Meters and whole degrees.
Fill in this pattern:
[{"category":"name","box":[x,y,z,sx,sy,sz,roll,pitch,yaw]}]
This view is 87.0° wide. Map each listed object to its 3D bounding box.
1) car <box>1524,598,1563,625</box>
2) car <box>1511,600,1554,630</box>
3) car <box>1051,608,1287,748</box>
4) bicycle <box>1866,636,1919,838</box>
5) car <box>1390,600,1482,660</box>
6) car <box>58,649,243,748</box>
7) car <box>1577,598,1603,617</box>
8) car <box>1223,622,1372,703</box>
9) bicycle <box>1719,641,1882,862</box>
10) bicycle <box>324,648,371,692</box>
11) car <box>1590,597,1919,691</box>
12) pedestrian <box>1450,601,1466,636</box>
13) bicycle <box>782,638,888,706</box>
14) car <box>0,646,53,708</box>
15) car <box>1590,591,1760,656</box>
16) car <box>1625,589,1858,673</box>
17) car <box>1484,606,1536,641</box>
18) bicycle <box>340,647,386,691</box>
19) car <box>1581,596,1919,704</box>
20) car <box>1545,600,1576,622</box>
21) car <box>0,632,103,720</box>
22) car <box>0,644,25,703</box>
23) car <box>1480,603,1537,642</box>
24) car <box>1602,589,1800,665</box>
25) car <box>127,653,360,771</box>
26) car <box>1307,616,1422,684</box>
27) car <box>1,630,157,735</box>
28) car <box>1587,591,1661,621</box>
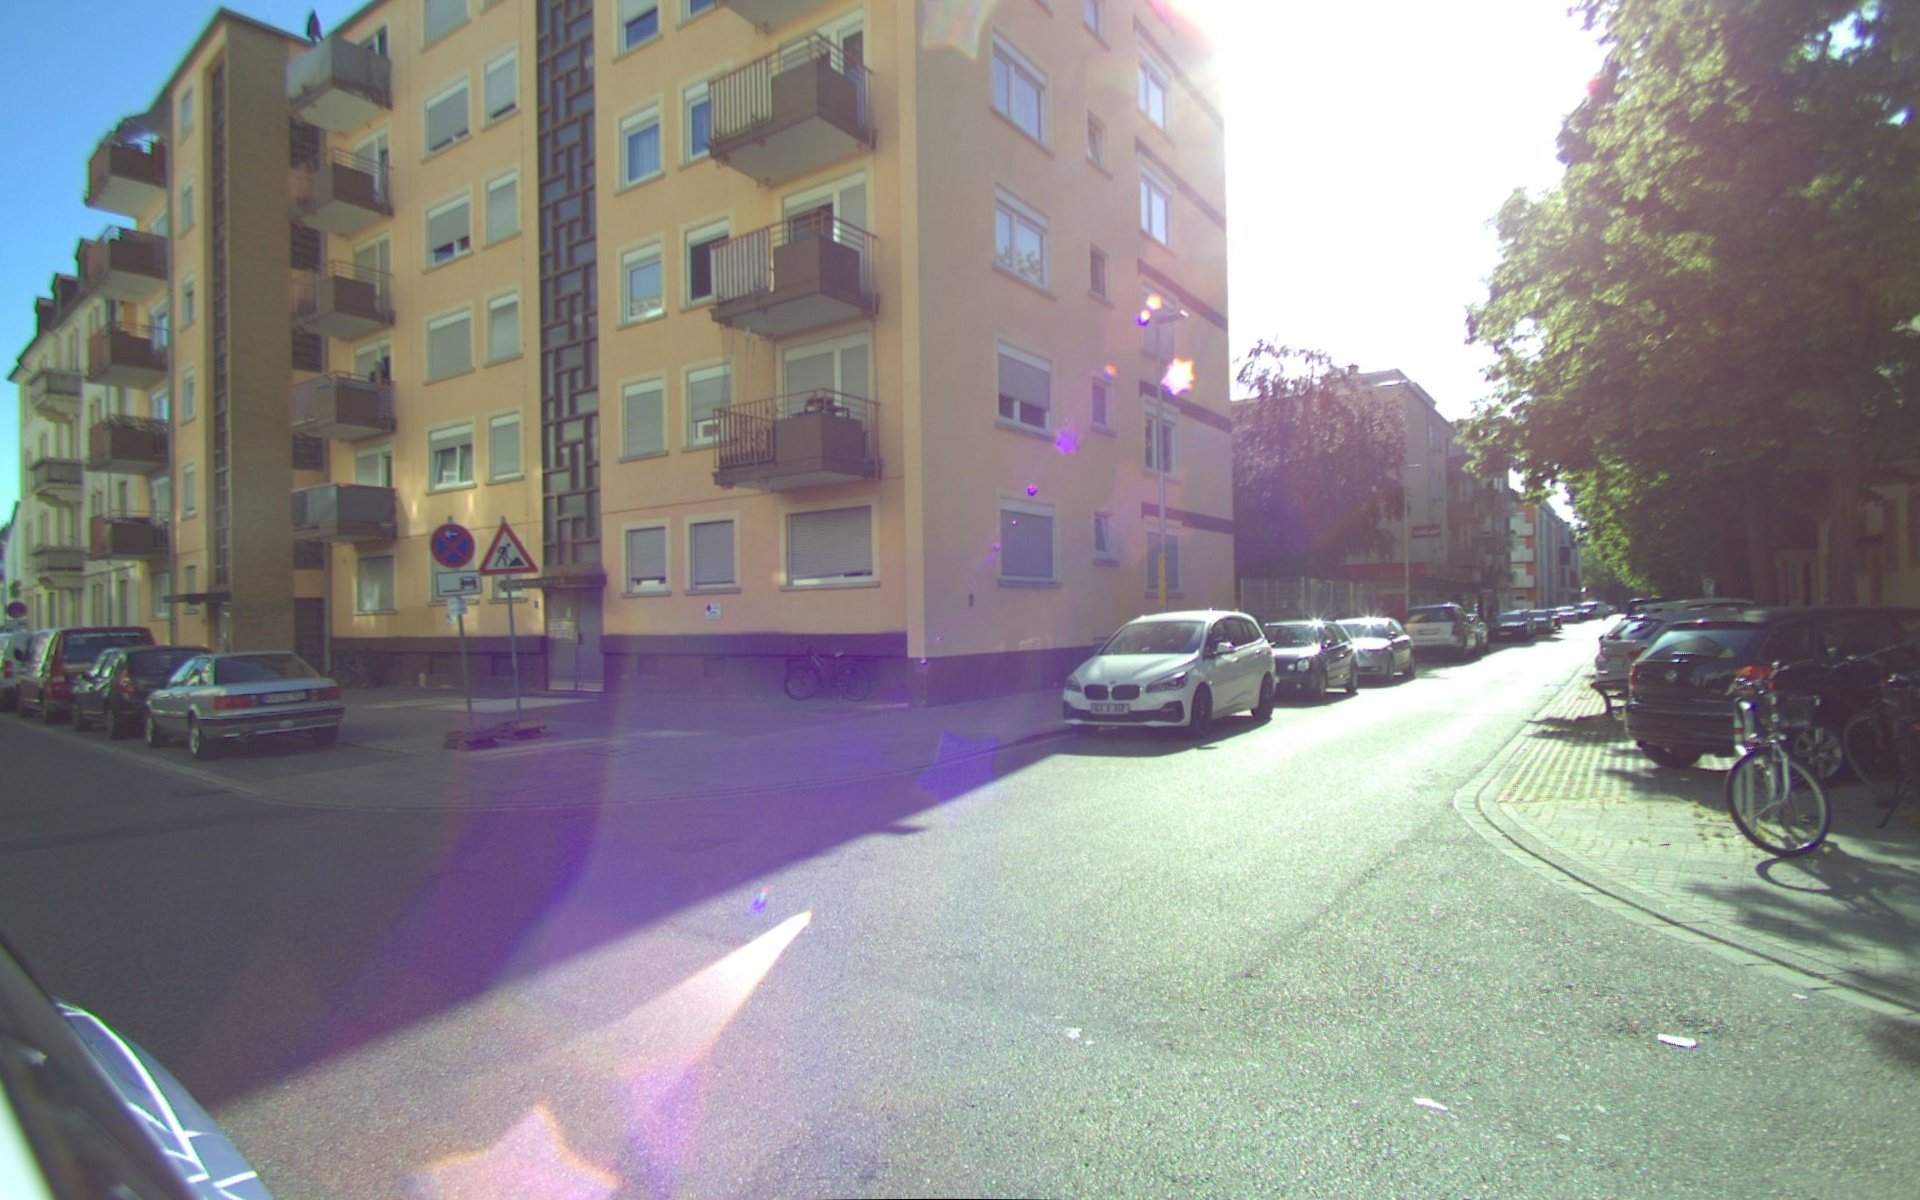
[{"category":"car","box":[41.555,0.833,72.017,2.102,1.780,4.460,-3,-2,32]},{"category":"car","box":[36.052,0.939,63.664,2.102,1.780,4.460,-3,-2,32]},{"category":"car","box":[3.057,0.952,14.049,1.722,1.605,4.399,-3,-2,32]},{"category":"bicycle","box":[6.423,0.840,6.700,0.526,1.144,1.878,-5,-3,41]},{"category":"car","box":[15.565,0.941,32.935,2.102,1.780,4.460,-3,-2,32]},{"category":"car","box":[-14.465,1.670,18.025,3.995,1.514,1.745,-3,-2,39]},{"category":"car","box":[61.944,0.759,99.486,2.102,1.780,4.460,-3,-2,32]},{"category":"car","box":[6.578,1.142,19.440,1.722,1.320,4.165,-3,-2,32]},{"category":"bicycle","box":[5.411,0.887,6.513,0.648,1.144,1.878,-5,-3,41]},{"category":"bicycle","box":[-15.894,1.810,26.253,1.759,1.122,0.338,-3,-2,35]},{"category":"car","box":[13.495,0.758,17.353,4.170,1.437,1.698,-2,-2,11]},{"category":"pedestrian","box":[27.703,1.044,56.263,0.660,1.918,0.520,-3,-2,35]},{"category":"bicycle","box":[-2.120,1.198,17.014,1.889,1.071,0.499,-3,1,36]},{"category":"car","box":[-27.637,2.192,29.080,4.291,1.633,1.745,-3,-1,40]},{"category":"car","box":[20.375,0.679,29.018,3.586,1.680,1.691,-3,-2,23]},{"category":"car","box":[16.853,0.688,22.048,3.586,1.621,1.691,-3,-2,23]},{"category":"car","box":[29.887,1.249,54.914,2.102,1.780,4.460,-3,-2,32]},{"category":"bicycle","box":[-15.690,1.806,26.578,1.759,1.122,0.338,-3,-2,35]},{"category":"car","box":[11.966,0.731,15.113,4.170,1.450,1.698,-2,-1,11]},{"category":"car","box":[52.003,0.918,87.583,2.102,1.780,4.460,-3,-2,32]},{"category":"car","box":[-23.405,1.859,25.435,5.304,1.940,1.956,-3,-1,40]},{"category":"car","box":[-31.199,2.349,32.074,4.290,1.784,1.745,-3,-1,40]},{"category":"car","box":[27.040,1.073,49.852,2.102,1.780,4.460,-3,-2,32]},{"category":"car","box":[18.336,0.672,25.242,3.586,1.680,1.691,-3,-2,23]},{"category":"car","box":[-10.615,1.519,14.862,4.475,1.388,1.745,-2,-1,41]},{"category":"car","box":[9.563,1.131,23.742,1.722,1.415,4.165,-3,-2,32]},{"category":"car","box":[-18.904,1.695,21.637,4.930,1.940,1.745,-3,-1,40]},{"category":"car","box":[41.871,0.384,63.887,3.586,1.680,1.691,-3,-2,23]}]
